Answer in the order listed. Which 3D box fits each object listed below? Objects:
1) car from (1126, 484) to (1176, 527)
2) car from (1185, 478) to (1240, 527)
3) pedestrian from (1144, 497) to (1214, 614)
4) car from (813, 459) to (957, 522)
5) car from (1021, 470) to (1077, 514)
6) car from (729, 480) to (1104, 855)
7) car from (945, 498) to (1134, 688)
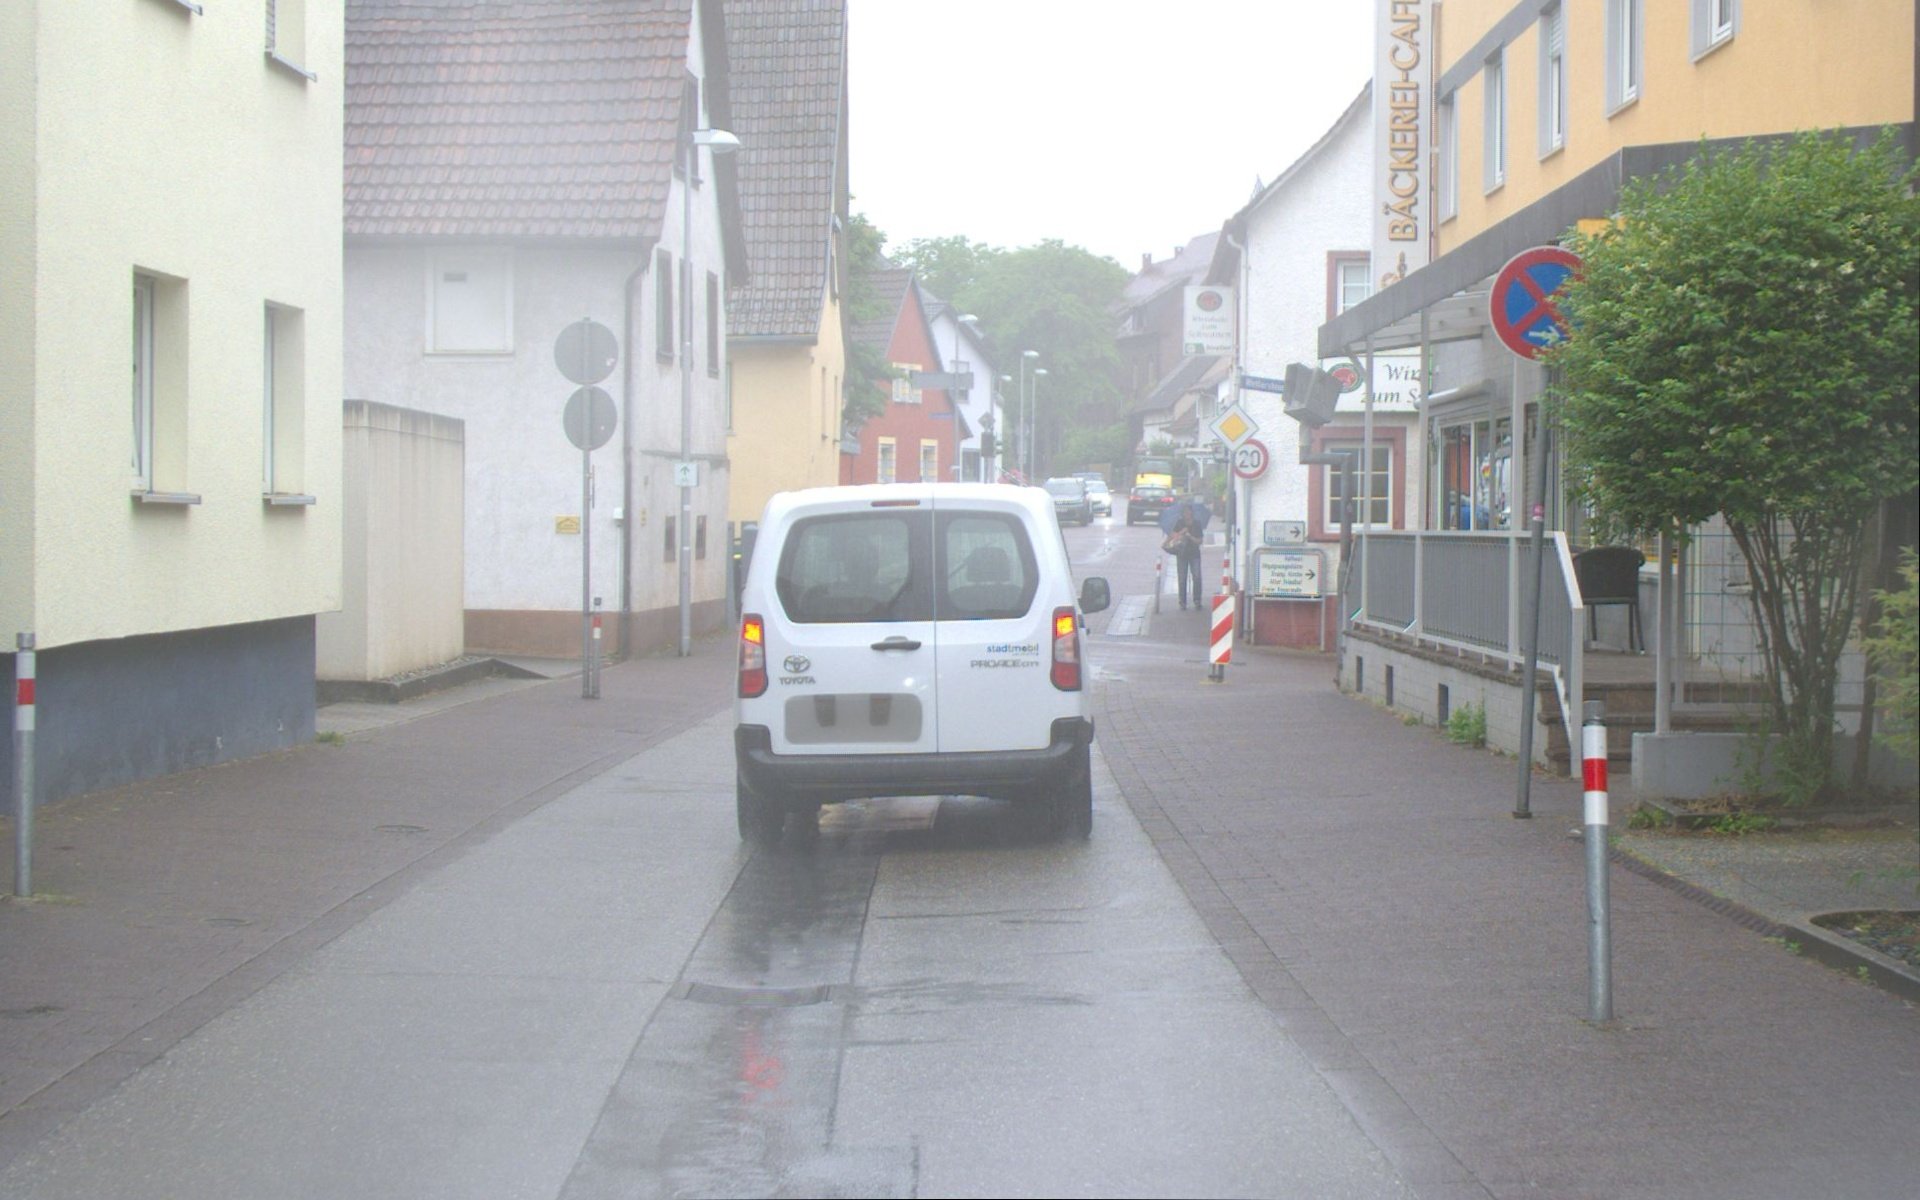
[{"bbox_3d":[6.830,-3.374,122.648,1.589,1.436,3.765,2,1,6],"label":"car"},{"bbox_3d":[7.829,-3.003,106.440,1.589,1.436,3.765,2,1,5],"label":"car"},{"bbox_3d":[3.570,-0.725,56.098,1.050,1.886,0.877,-1,1,-1],"label":"pedestrian"},{"bbox_3d":[-2.086,-3.038,95.548,3.420,1.554,2.001,-4,3,-23],"label":"car"},{"bbox_3d":[3.117,-3.773,120.070,1.589,1.436,3.765,2,1,6],"label":"car"},{"bbox_3d":[-0.136,0.294,18.446,1.775,1.774,4.000,-1,1,2],"label":"car"},{"bbox_3d":[0.937,-0.102,38.799,1.994,2.007,4.000,-1,1,2],"label":"car"}]
